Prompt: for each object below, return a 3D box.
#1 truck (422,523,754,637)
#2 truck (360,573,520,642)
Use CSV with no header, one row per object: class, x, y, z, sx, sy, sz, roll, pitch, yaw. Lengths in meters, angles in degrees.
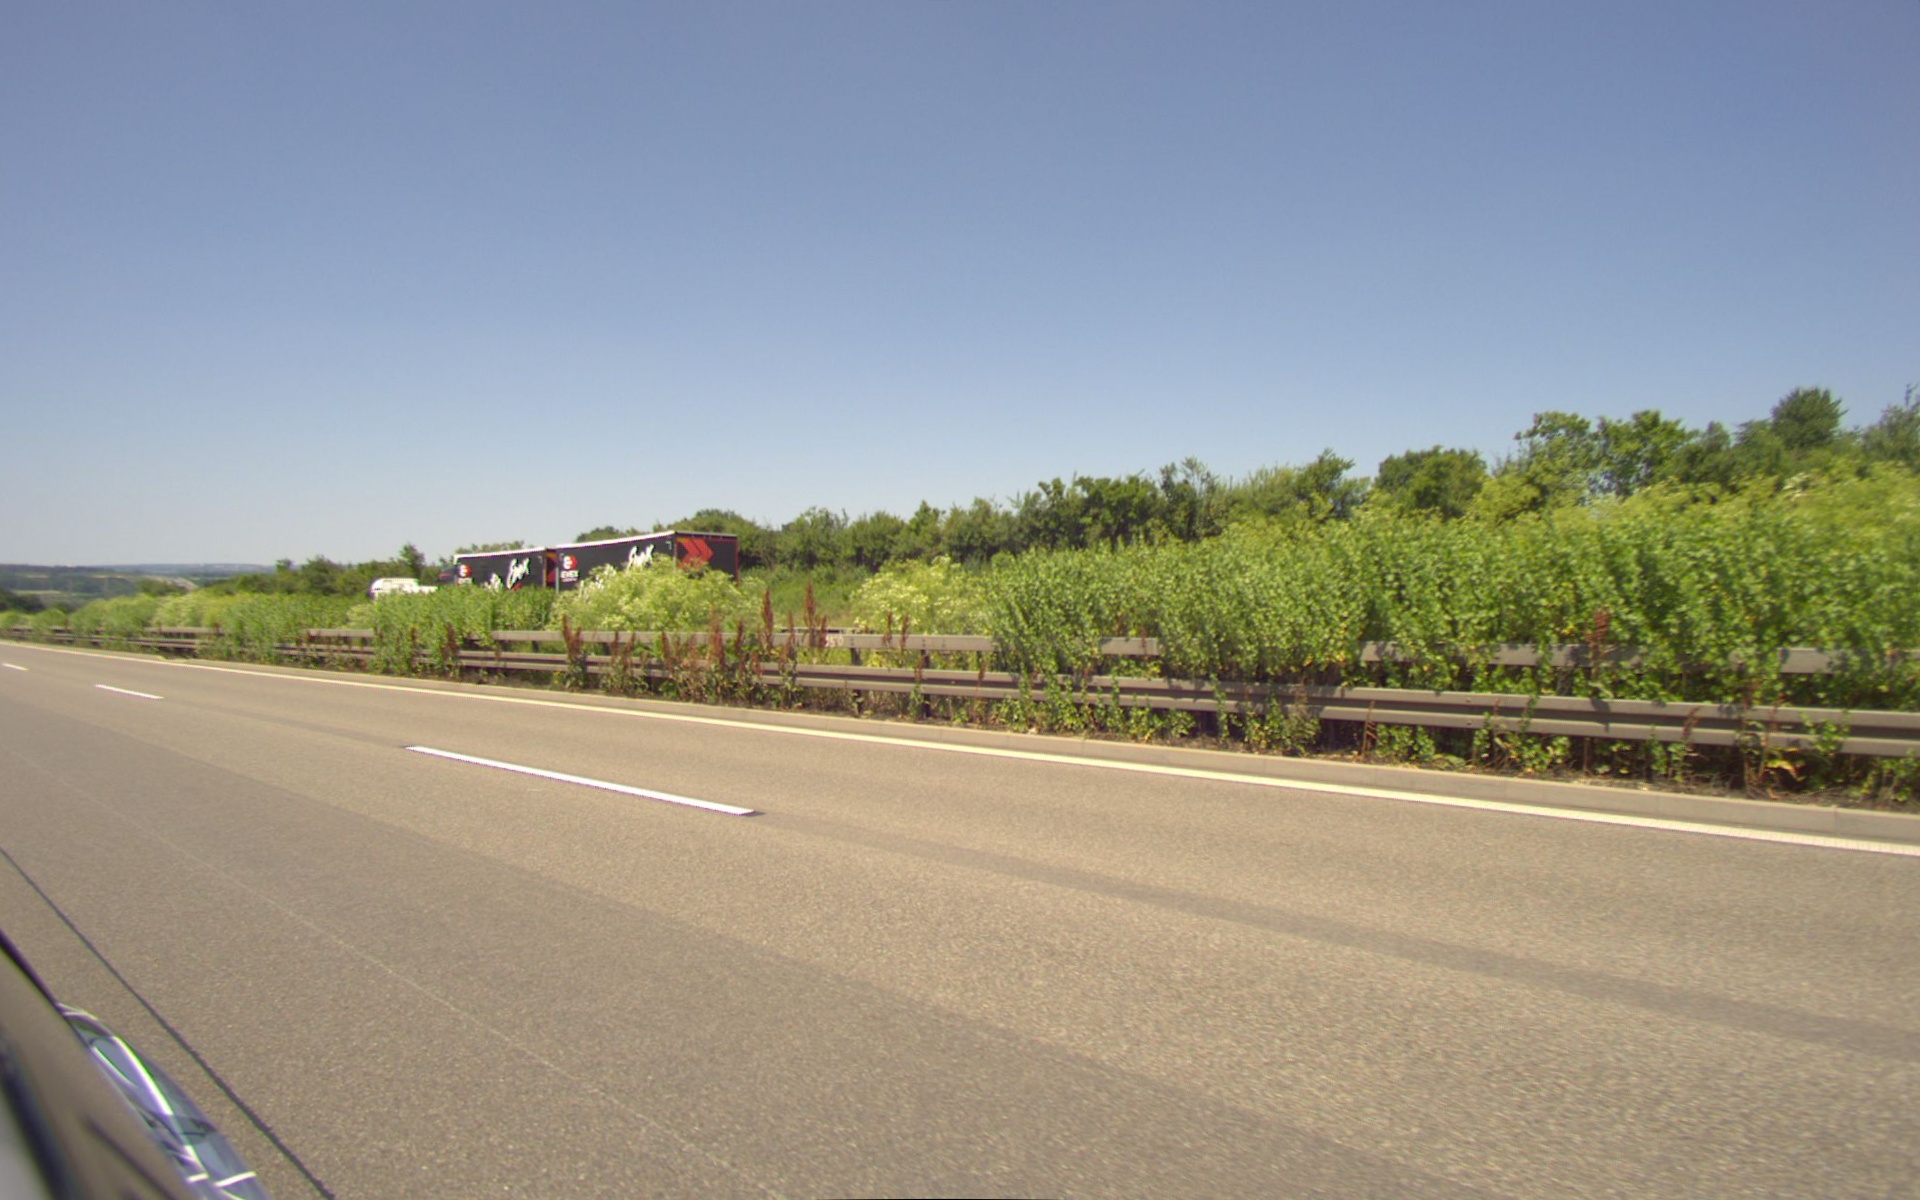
truck,-15.245,-0.478,39.413,18.514,3.638,3.198,-2,1,40
truck,-29.437,0.563,56.720,14.673,3.483,2.434,-2,-2,40
